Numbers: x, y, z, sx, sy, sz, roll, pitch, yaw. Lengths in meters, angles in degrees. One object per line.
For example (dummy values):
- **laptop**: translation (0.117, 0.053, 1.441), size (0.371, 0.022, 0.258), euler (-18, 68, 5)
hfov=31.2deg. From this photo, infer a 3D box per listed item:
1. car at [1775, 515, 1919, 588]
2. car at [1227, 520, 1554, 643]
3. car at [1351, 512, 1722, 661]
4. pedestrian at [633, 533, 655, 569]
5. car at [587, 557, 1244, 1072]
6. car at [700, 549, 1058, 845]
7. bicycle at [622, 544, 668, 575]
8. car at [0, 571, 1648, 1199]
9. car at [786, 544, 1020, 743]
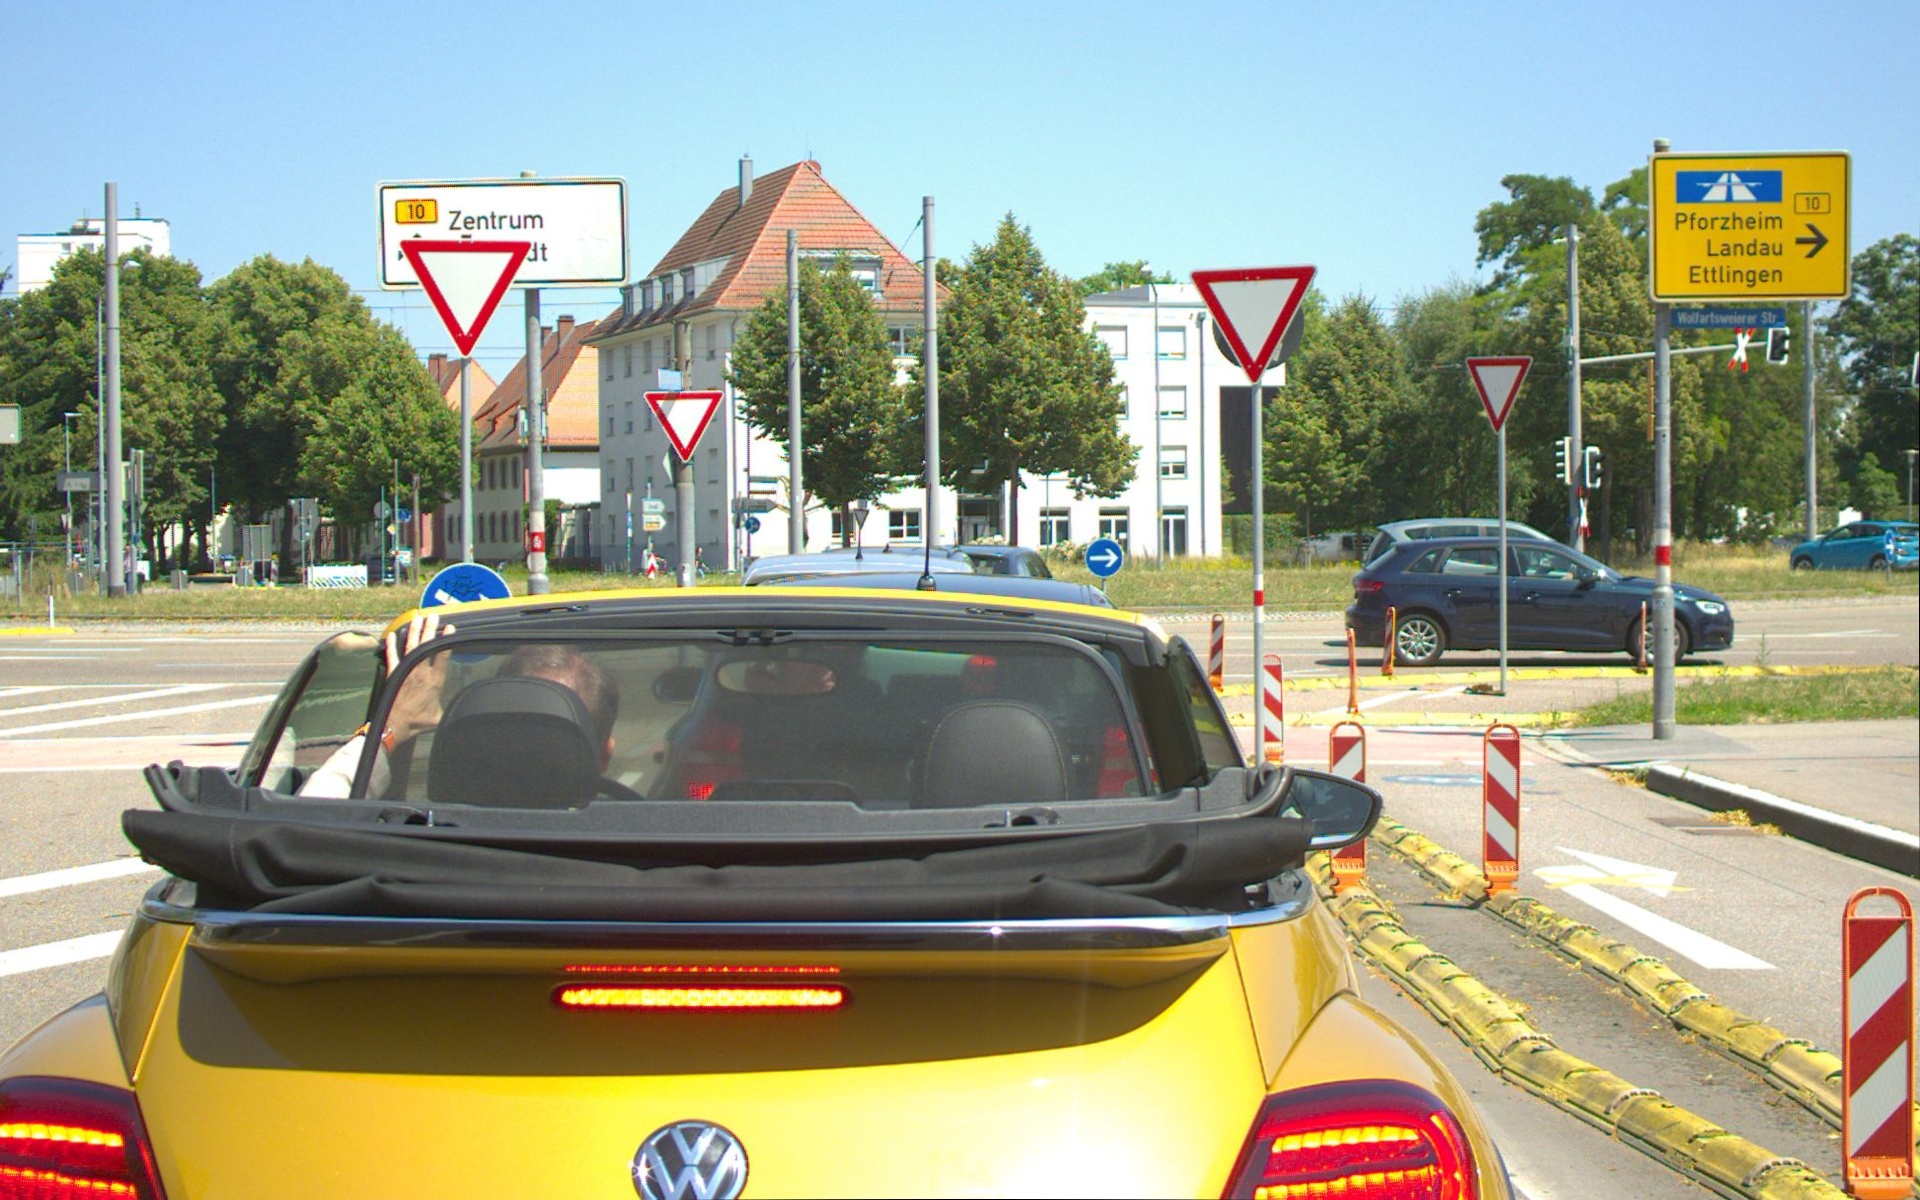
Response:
- **car**: translation (23.184, -1.254, 88.144), size (1.994, 1.831, 3.998), euler (-1, 1, -43)
- **car**: translation (5.374, -0.247, 43.201), size (3.988, 1.491, 1.800), euler (0, 1, 6)
- **car**: translation (6.407, -0.163, 38.583), size (4.000, 1.614, 1.736), euler (0, 1, 6)
- **pedestrian**: translation (-10.758, -1.660, 117.038), size (0.675, 1.226, 0.499), euler (0, 1, -19)
- **car**: translation (-0.146, 0.580, 11.689), size (1.848, 1.437, 4.000), euler (0, 1, -1)
- **car**: translation (-0.414, 0.442, 18.702), size (1.736, 1.437, 4.000), euler (0, 1, -1)
- **bicycle**: translation (-10.726, -1.372, 117.053), size (1.465, 1.067, 0.499), euler (0, 1, -19)
- **car**: translation (-0.308, 0.682, 4.879), size (1.752, 1.417, 3.778), euler (0, 1, -1)
- **car**: translation (-0.443, 0.293, 27.503), size (1.736, 1.472, 4.000), euler (0, 1, -1)
